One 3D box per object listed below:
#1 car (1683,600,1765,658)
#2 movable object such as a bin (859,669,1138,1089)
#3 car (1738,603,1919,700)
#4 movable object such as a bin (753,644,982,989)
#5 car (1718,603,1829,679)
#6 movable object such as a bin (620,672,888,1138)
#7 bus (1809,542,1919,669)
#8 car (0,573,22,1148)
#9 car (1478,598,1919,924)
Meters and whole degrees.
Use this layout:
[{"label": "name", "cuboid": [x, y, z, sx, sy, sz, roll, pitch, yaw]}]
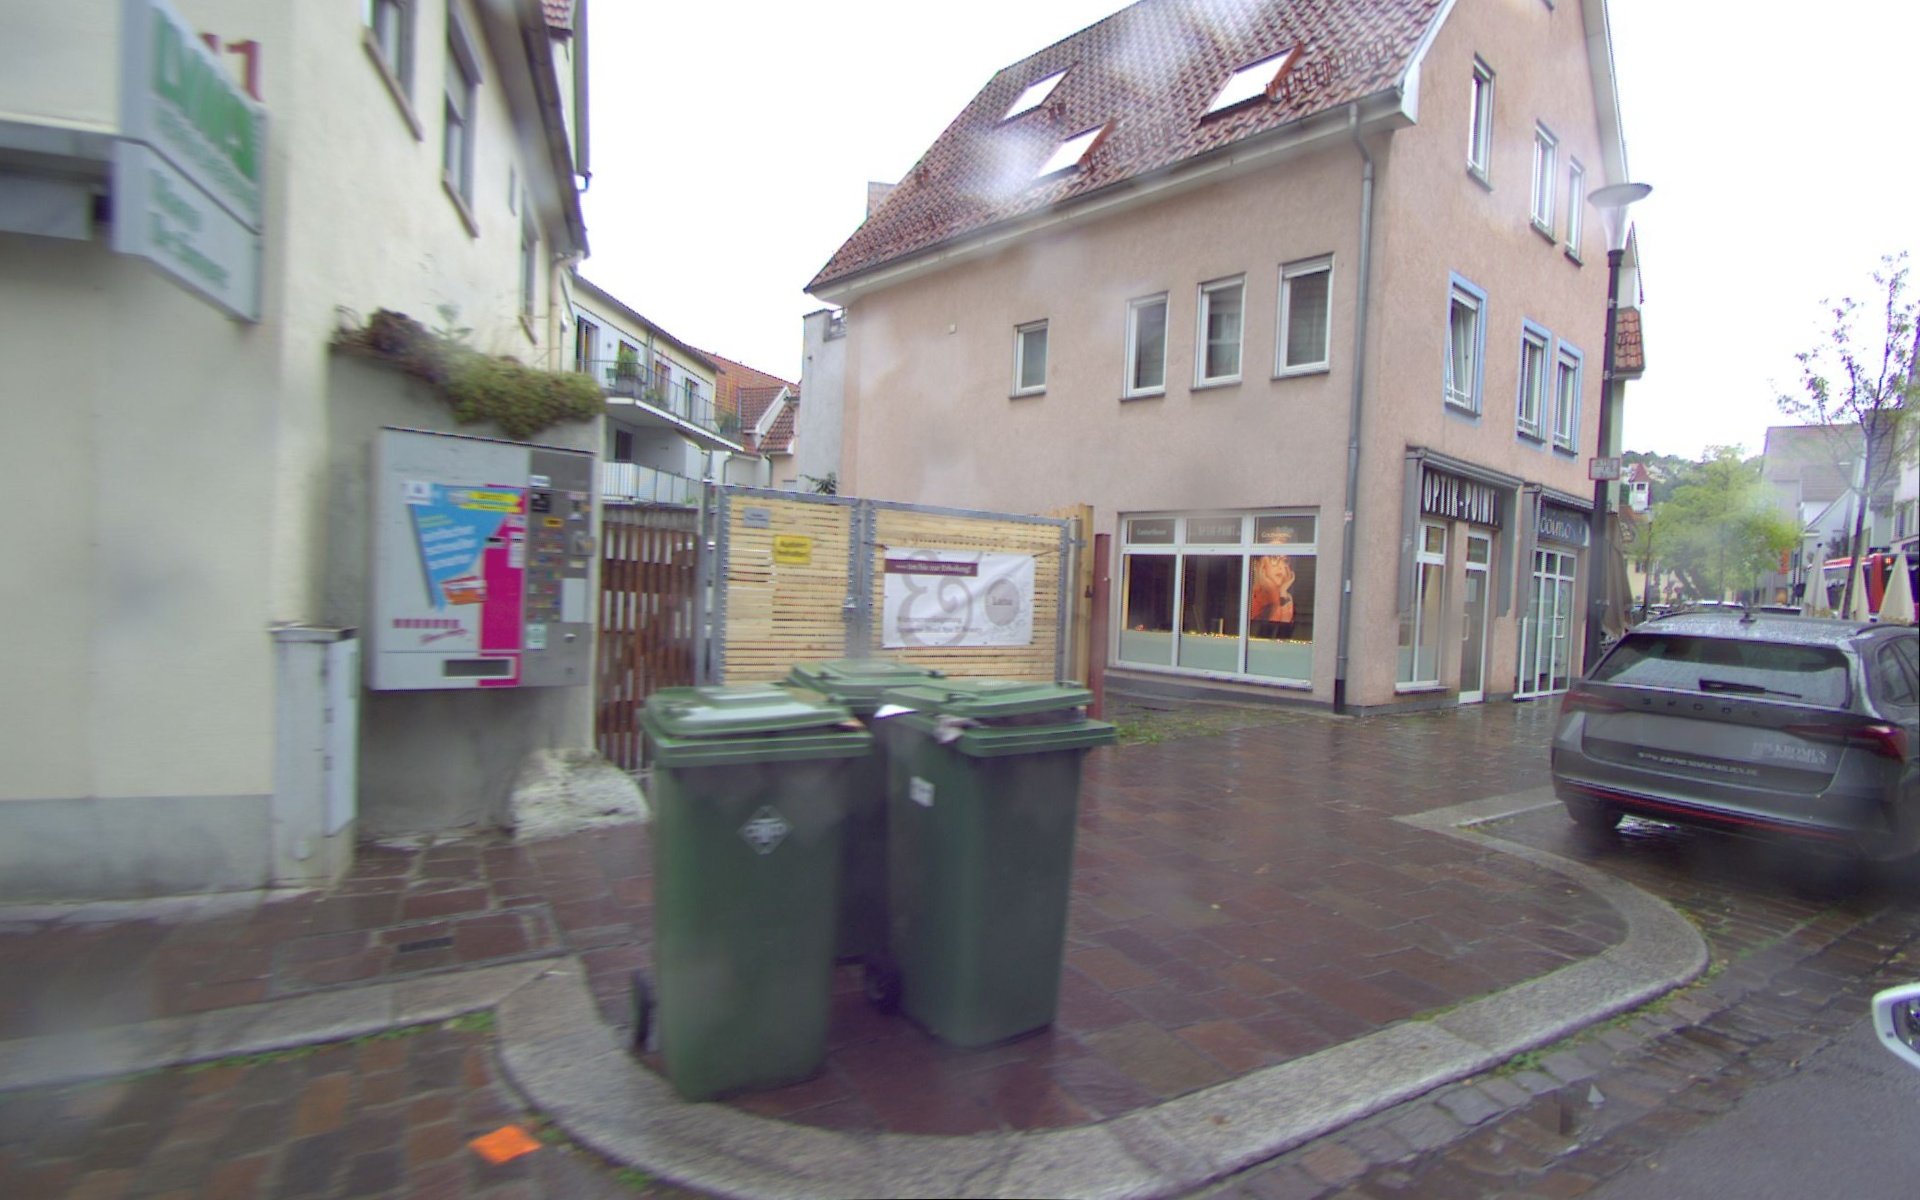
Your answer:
[{"label": "car", "cuboid": [25.286, 0.950, 33.361, 1.747, 1.697, 4.467, 4, 1, 33]}, {"label": "movable object such as a bin", "cuboid": [0.108, 0.811, 3.252, 0.616, 1.124, 0.656, 2, 0, -30]}, {"label": "car", "cuboid": [16.421, 0.867, 19.019, 1.774, 1.452, 4.620, 5, 3, 27]}, {"label": "movable object such as a bin", "cuboid": [-0.366, 0.749, 3.808, 0.616, 1.124, 0.656, 2, 0, -30]}, {"label": "car", "cuboid": [18.924, 0.931, 23.514, 1.570, 1.566, 3.966, 2, 0, 33]}, {"label": "movable object such as a bin", "cuboid": [-0.630, 0.803, 2.958, 0.540, 1.101, 0.688, 2, 2, -30]}, {"label": "bus", "cuboid": [26.653, 0.221, 28.650, 2.603, 3.270, 6.588, 2, 0, 31]}, {"label": "car", "cuboid": [-3.606, 0.632, 0.890, 3.775, 1.442, 1.680, 1, 0, -33]}, {"label": "car", "cuboid": [5.507, 0.812, 6.797, 4.337, 1.474, 1.977, 2, 0, -39]}]
